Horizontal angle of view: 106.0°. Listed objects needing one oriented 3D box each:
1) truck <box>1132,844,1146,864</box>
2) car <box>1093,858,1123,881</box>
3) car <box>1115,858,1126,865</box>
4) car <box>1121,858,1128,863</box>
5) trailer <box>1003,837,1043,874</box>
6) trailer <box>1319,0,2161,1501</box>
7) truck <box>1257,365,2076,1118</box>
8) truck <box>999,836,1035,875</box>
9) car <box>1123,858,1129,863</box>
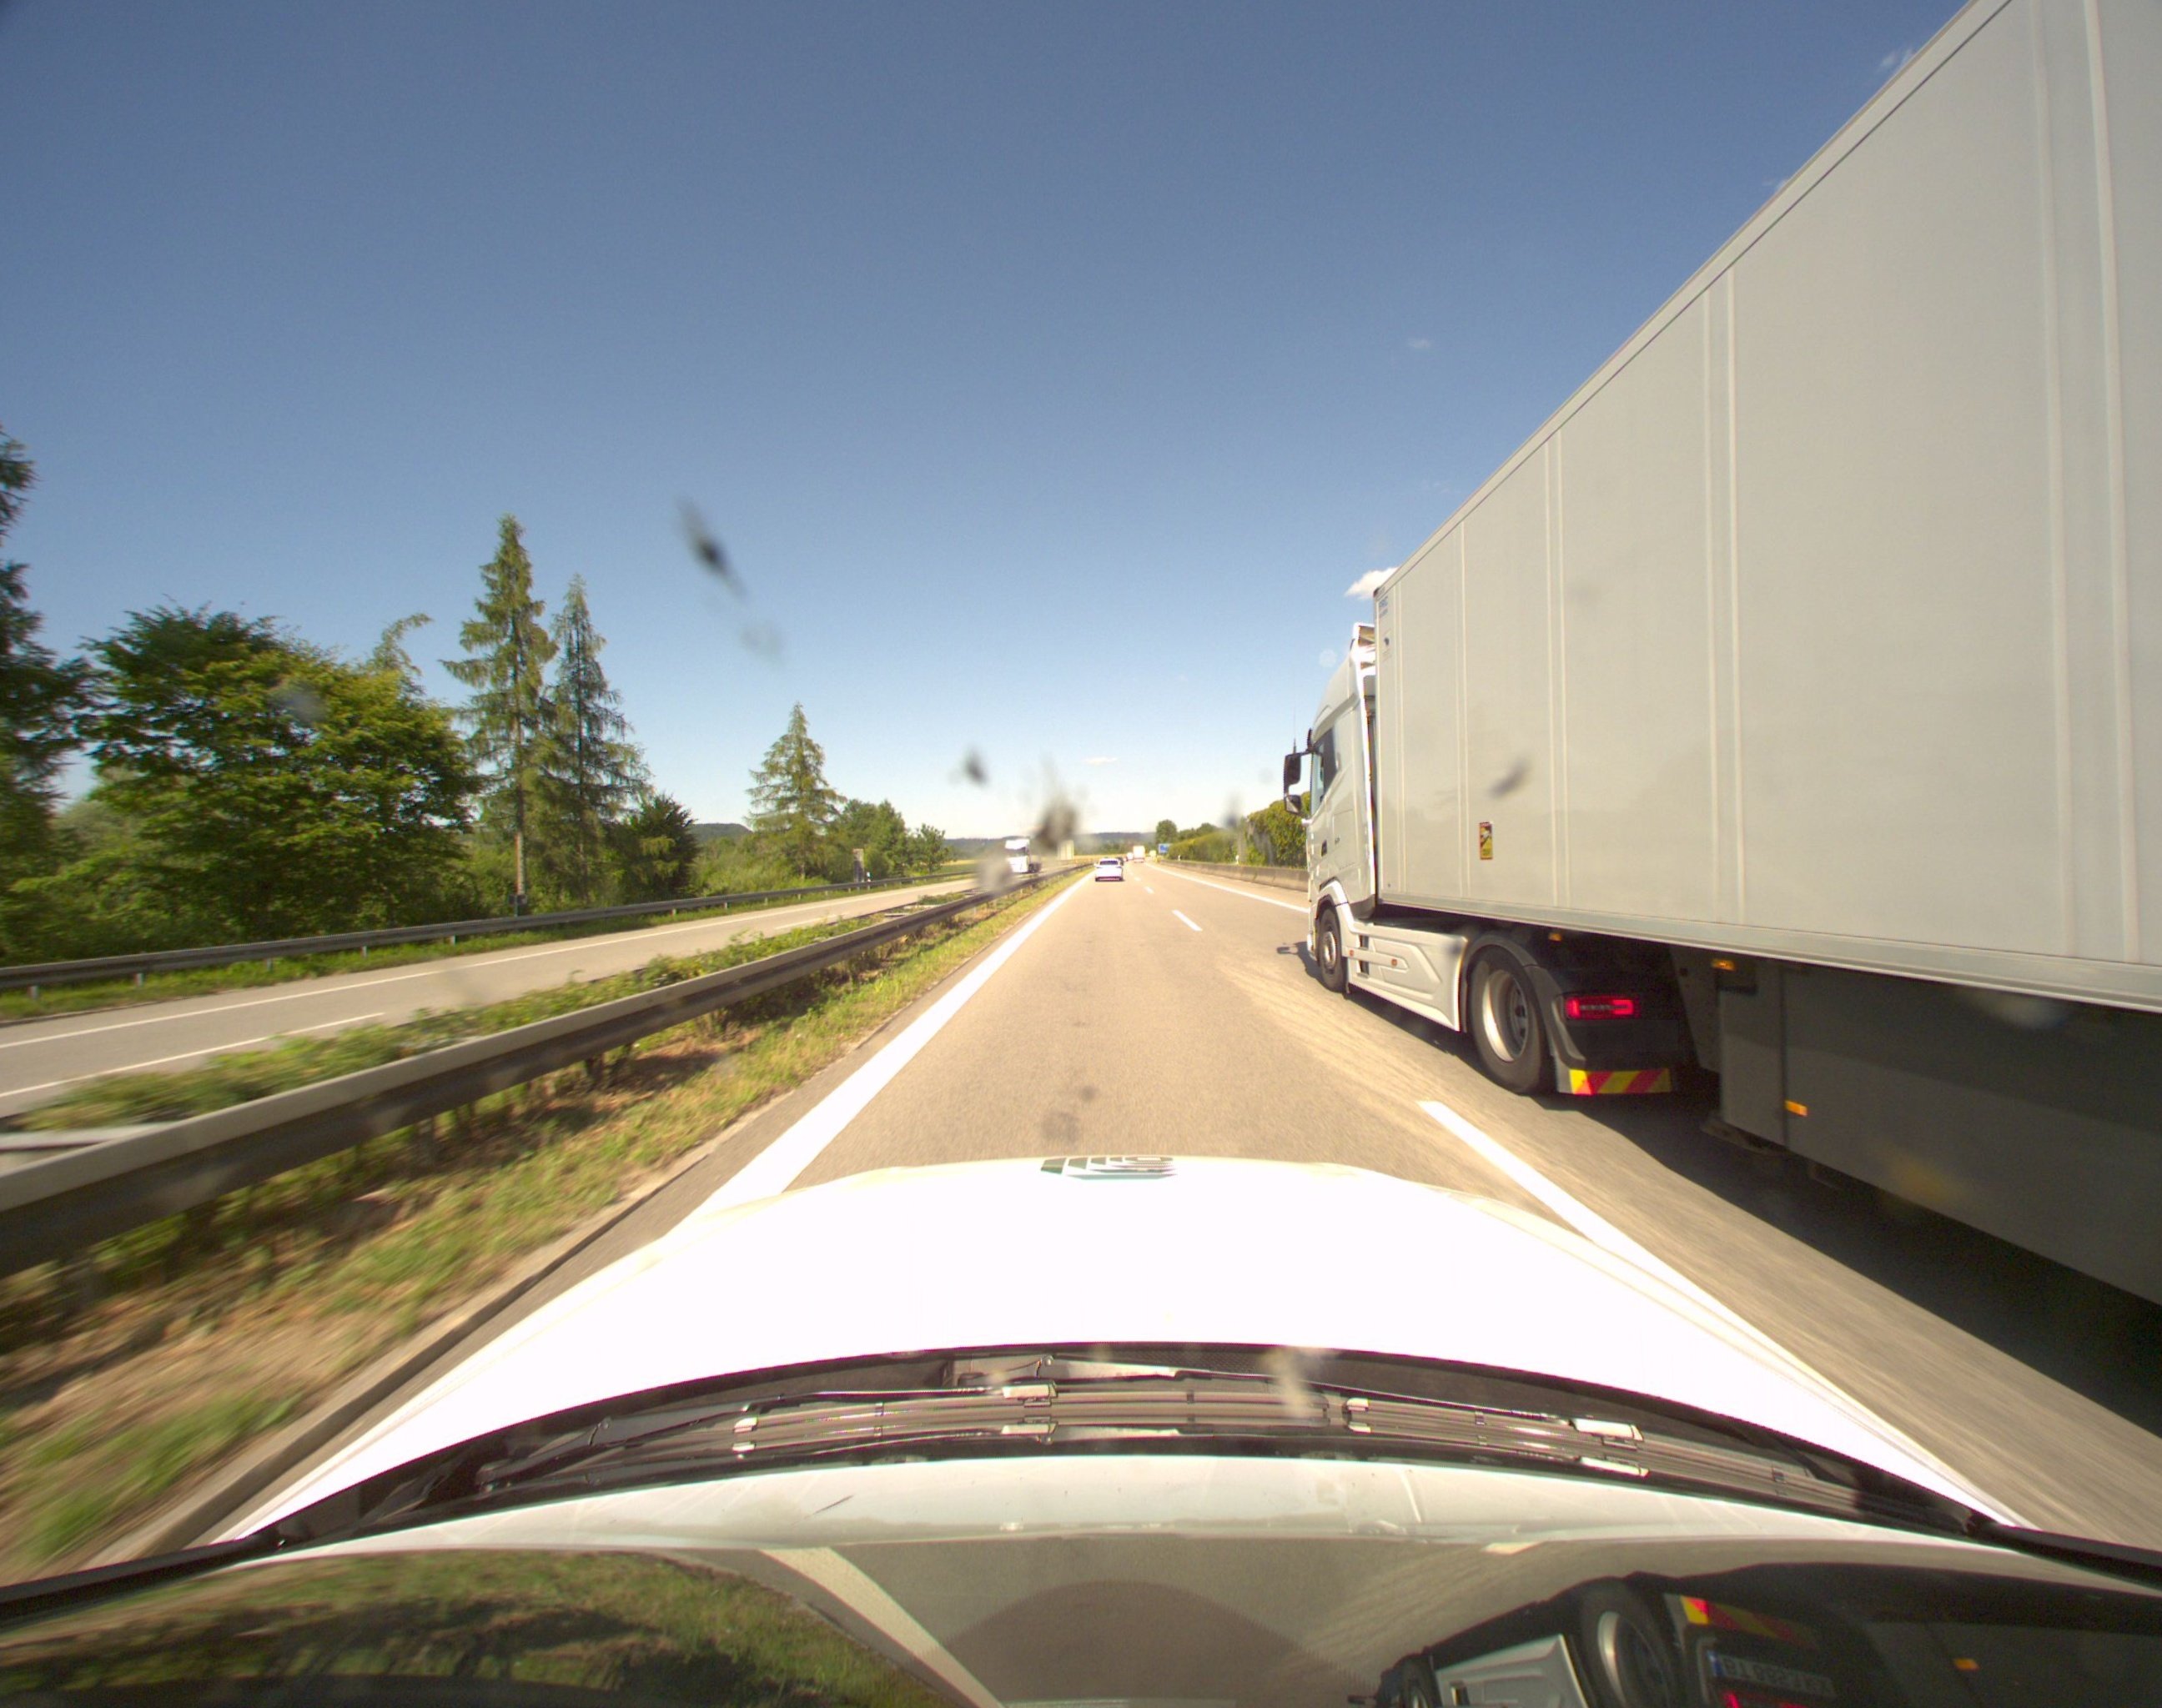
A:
[{"bbox_3d":[14.168,0.044,198.776,3.137,4.612,8.917,-1,-1,5],"label":"truck"},{"bbox_3d":[1.717,0.985,53.002,1.834,1.421,5.254,0,0,1],"label":"car"},{"bbox_3d":[7.158,1.364,148.702,1.762,1.421,4.502,0,-1,6],"label":"car"},{"bbox_3d":[11.813,1.843,219.961,1.762,1.421,4.371,0,-1,5],"label":"car"},{"bbox_3d":[-7.013,0.282,100.810,3.138,4.124,13.449,-3,-1,3],"label":"trailer"},{"bbox_3d":[3.771,-0.570,1.330,2.808,3.966,14.163,-2,0,1],"label":"trailer"},{"bbox_3d":[3.904,-0.598,7.909,2.831,3.966,7.044,-2,0,1],"label":"truck"},{"bbox_3d":[-7.353,0.210,94.524,3.144,4.101,7.739,-3,-1,2],"label":"truck"},{"bbox_3d":[13.112,1.825,237.496,1.762,1.421,4.371,0,-1,6],"label":"car"}]
